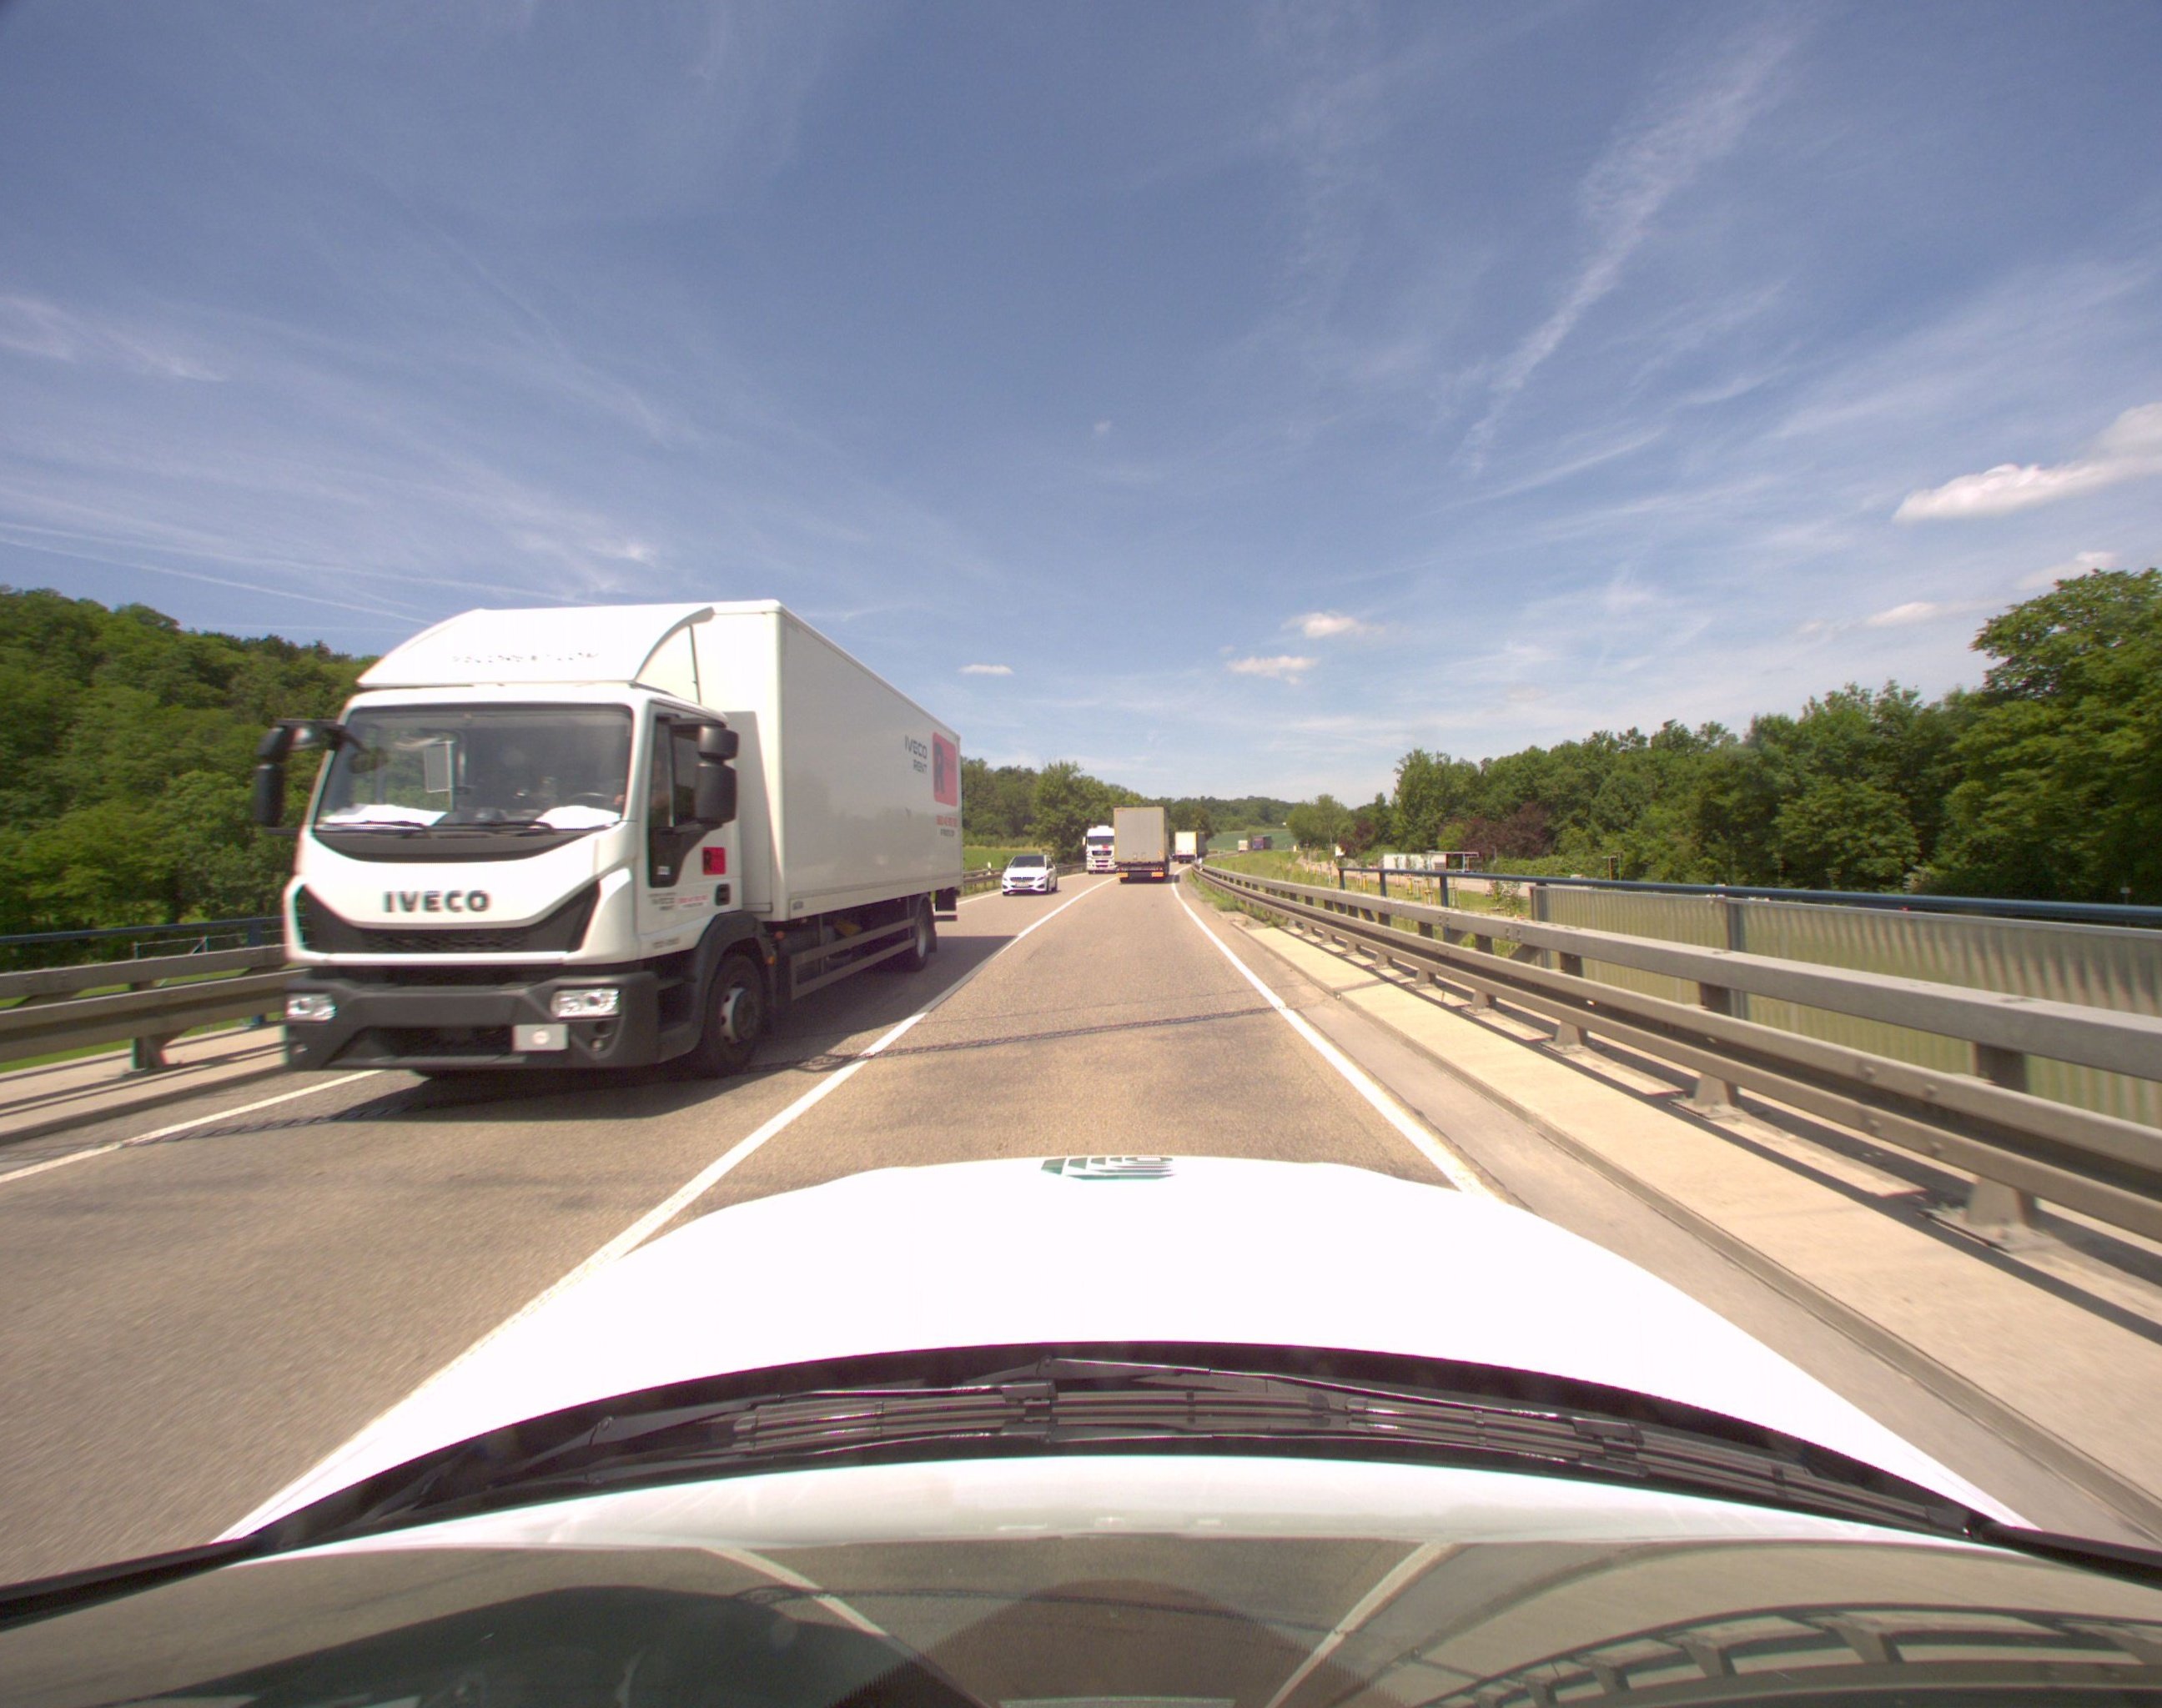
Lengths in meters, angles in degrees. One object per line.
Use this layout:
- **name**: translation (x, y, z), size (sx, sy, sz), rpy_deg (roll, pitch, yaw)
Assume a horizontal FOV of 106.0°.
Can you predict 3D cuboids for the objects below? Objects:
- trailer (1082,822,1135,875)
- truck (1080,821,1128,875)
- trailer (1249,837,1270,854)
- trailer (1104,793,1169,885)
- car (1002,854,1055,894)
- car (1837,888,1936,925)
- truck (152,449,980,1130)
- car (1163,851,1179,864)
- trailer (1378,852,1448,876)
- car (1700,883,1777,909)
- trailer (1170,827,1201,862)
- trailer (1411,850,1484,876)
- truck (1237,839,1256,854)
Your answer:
- **trailer**: translation (2.634, -0.327, 70.420), size (3.102, 3.980, 15.385), rpy_deg (-1, -1, 7)
- **truck**: translation (1.906, -0.390, 64.587), size (3.102, 3.958, 6.634), rpy_deg (-1, -1, 7)
- **trailer**: translation (45.699, -2.080, 208.372), size (3.617, 4.263, 12.255), rpy_deg (-1, -1, 20)
- **trailer**: translation (3.246, -0.780, 47.315), size (3.104, 4.499, 13.902), rpy_deg (-1, 0, 4)
- **car**: translation (-2.040, 0.773, 32.595), size (1.751, 1.512, 4.000), rpy_deg (-1, -1, 1)
- **car**: translation (47.814, 3.080, 48.473), size (1.850, 1.682, 4.204), rpy_deg (-5, 1, 3)
- **truck**: translation (-3.571, -0.336, 9.477), size (2.902, 3.803, 9.717), rpy_deg (-1, 0, 4)
- **car**: translation (13.220, 0.496, 119.135), size (1.910, 1.860, 5.190), rpy_deg (-1, 0, 10)
- **trailer**: translation (49.247, 1.400, 121.324), size (2.726, 3.327, 11.821), rpy_deg (-1, 0, -18)
- **car**: translation (48.141, 3.050, 59.769), size (1.851, 1.482, 4.609), rpy_deg (-5, 0, 1)
- **trailer**: translation (13.855, -1.124, 106.959), size (3.344, 4.317, 13.901), rpy_deg (-1, -1, 10)
- **trailer**: translation (53.232, 1.210, 118.770), size (2.725, 3.606, 11.828), rpy_deg (0, 0, -16)
- **truck**: translation (37.924, -1.694, 186.579), size (3.198, 3.365, 11.925), rpy_deg (-1, -1, 16)
